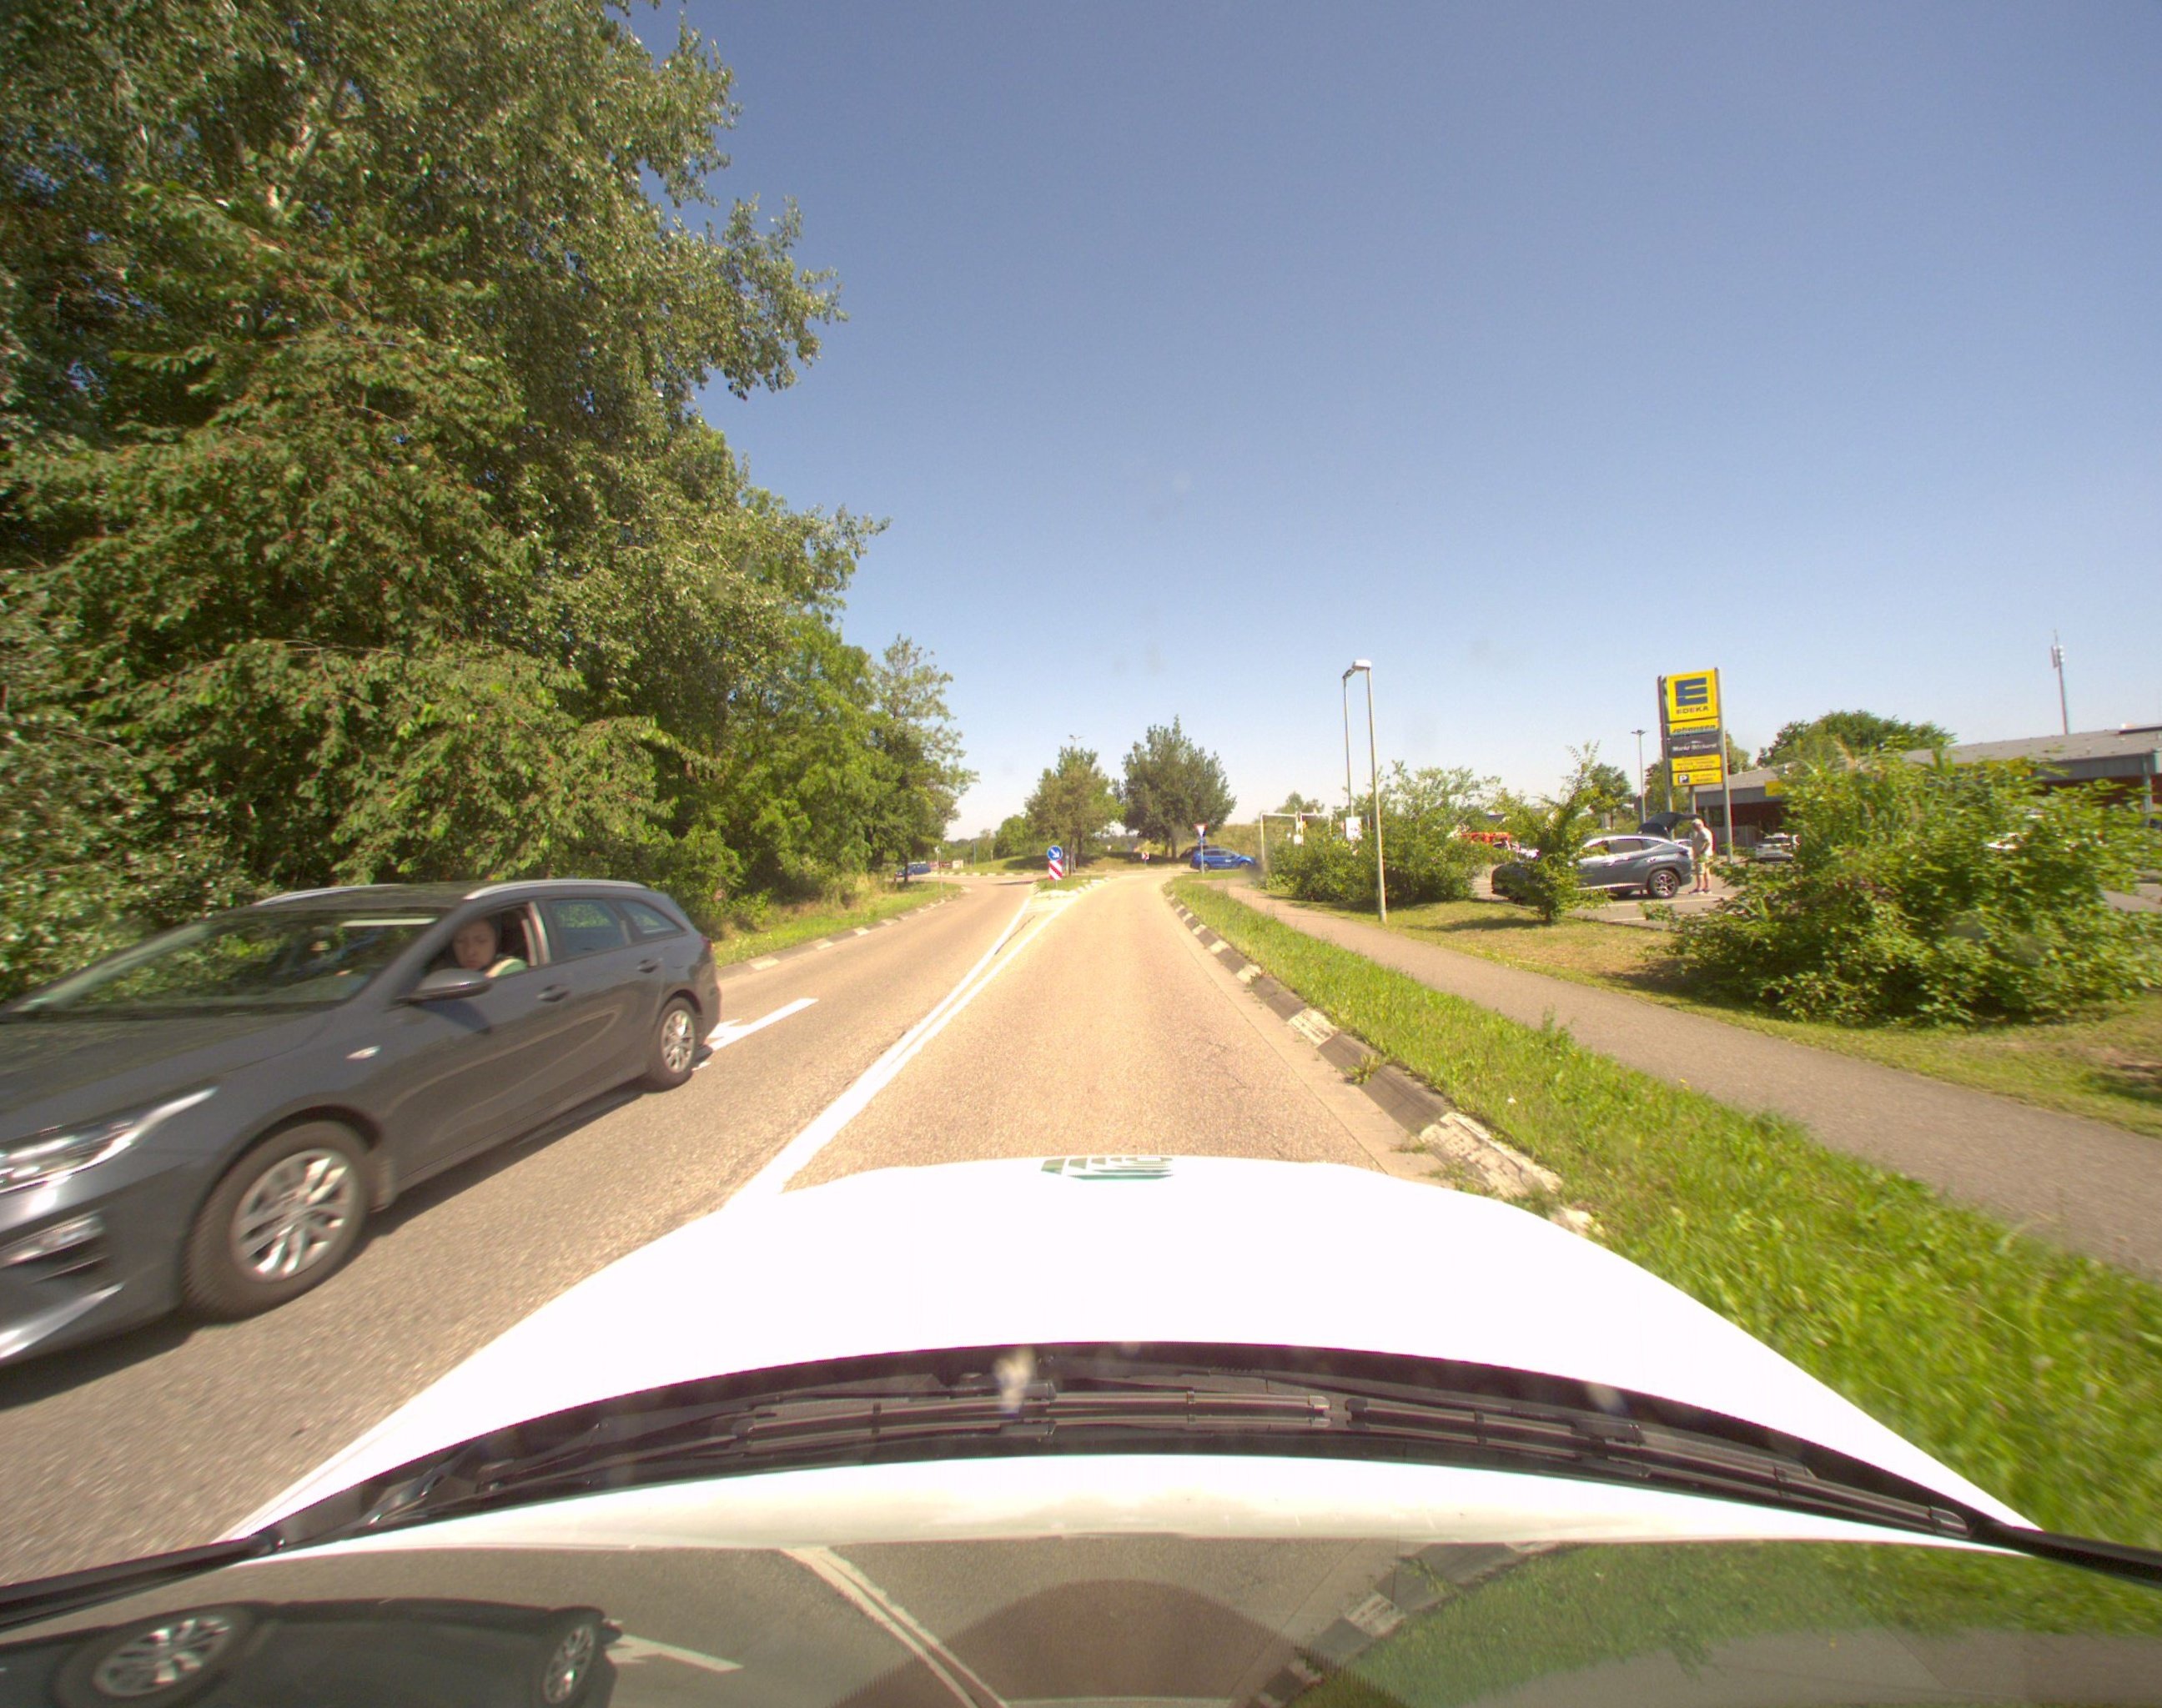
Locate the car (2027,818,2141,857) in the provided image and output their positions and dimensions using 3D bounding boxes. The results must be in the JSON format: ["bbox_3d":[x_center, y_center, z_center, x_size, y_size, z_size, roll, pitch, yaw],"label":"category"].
[{"bbox_3d":[40.321,-0.662,32.742,4.007,1.420,1.966,-2,0,-25],"label":"car"}]

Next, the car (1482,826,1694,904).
[{"bbox_3d":[12.529,0.254,20.330,4.102,1.627,1.753,-3,0,2],"label":"car"}]

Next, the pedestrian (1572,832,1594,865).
[{"bbox_3d":[25.565,-0.283,41.516,0.699,1.648,0.596,-2,0,1],"label":"pedestrian"}]

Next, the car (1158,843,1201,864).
[{"bbox_3d":[10.338,-0.073,85.463,3.948,2.013,2.013,-3,0,40],"label":"car"}]

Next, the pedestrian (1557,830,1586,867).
[{"bbox_3d":[24.663,-0.282,40.985,0.876,1.785,0.841,-2,0,-4],"label":"pedestrian"}]

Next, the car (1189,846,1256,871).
[{"bbox_3d":[9.751,0.306,56.244,4.387,1.571,1.721,-2,0,9],"label":"car"}]

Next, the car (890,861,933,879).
[{"bbox_3d":[-15.996,1.482,77.197,1.817,1.387,4.447,-3,0,21],"label":"car"}]

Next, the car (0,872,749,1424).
[{"bbox_3d":[-3.565,0.872,4.348,1.692,1.389,4.295,-2,0,1],"label":"car"}]

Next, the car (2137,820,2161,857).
[{"bbox_3d":[42.040,-0.641,30.724,4.009,1.376,1.982,-2,0,-27],"label":"car"}]

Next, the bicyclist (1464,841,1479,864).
[{"bbox_3d":[26.443,-0.122,55.160,0.672,1.515,0.608,-3,0,6],"label":"bicyclist"}]

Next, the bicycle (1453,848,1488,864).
[{"bbox_3d":[26.366,0.132,55.148,2.059,1.042,0.554,-3,0,5],"label":"bicycle"}]

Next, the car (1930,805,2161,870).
[{"bbox_3d":[25.104,-0.411,21.267,3.969,1.442,1.653,-3,0,4],"label":"car"}]

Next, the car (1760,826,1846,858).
[{"bbox_3d":[36.331,-0.609,41.007,3.491,1.498,1.706,-2,0,-18],"label":"car"}]

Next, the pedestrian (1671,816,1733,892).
[{"bbox_3d":[15.439,0.002,20.273,0.815,1.797,0.867,-3,0,4],"label":"pedestrian"}]

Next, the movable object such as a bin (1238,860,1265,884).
[{"bbox_3d":[8.467,0.888,40.331,0.859,1.120,1.464,-2,0,30],"label":"movable object such as a bin"}]

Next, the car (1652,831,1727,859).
[{"bbox_3d":[34.544,-0.500,46.269,3.491,1.458,1.706,-2,0,-18],"label":"car"}]

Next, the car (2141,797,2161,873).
[{"bbox_3d":[24.314,-0.458,16.115,4.140,1.574,1.999,-2,0,-1],"label":"car"}]
